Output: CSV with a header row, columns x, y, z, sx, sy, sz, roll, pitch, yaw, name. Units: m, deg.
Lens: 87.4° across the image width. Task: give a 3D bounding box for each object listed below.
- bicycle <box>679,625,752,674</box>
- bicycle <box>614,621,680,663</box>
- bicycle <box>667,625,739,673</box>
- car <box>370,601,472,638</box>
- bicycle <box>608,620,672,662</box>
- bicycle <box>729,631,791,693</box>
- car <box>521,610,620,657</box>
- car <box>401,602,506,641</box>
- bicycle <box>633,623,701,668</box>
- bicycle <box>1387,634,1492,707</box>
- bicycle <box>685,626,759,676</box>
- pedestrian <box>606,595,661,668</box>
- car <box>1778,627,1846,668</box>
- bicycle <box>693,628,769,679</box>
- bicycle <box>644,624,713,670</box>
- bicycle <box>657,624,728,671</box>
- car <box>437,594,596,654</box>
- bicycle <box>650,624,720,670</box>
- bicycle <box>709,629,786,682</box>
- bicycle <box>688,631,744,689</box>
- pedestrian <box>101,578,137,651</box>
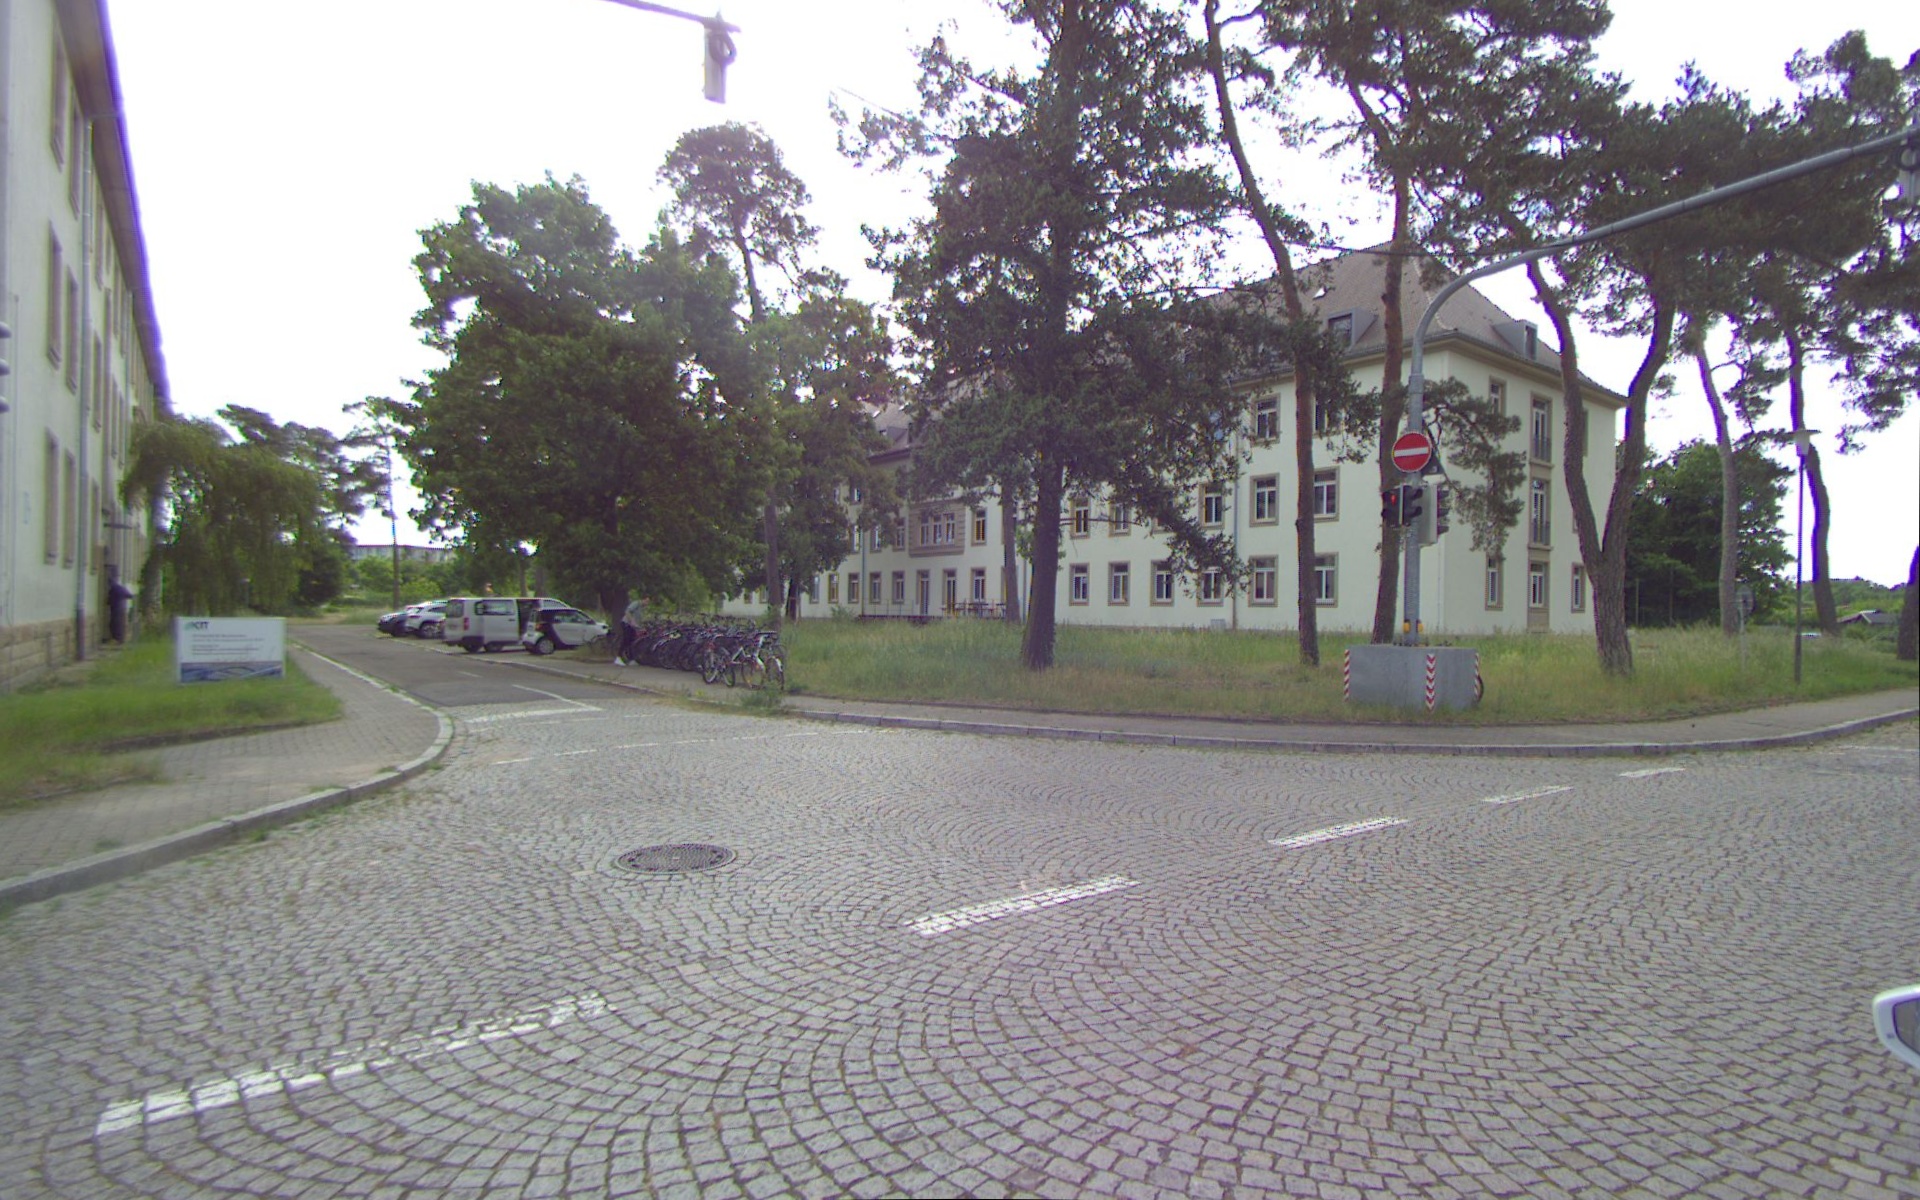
x,y,z,sx,sy,sz,roll,pitch,yaw,name
-5.642,1.144,23.241,1.571,1.093,0.511,2,-1,-38,bicycle
-8.321,1.116,26.724,1.571,1.093,0.511,2,-1,-38,bicycle
-6.056,1.138,23.713,1.571,1.093,0.511,2,-1,-38,bicycle
-26.301,0.961,49.065,4.062,1.716,1.784,2,0,-42,car
-8.629,1.102,27.117,1.571,1.093,0.511,2,-1,-38,bicycle
-3.726,1.135,18.669,0.512,1.079,1.453,1,-1,-39,bicycle
-13.028,1.113,33.616,2.763,1.447,1.505,2,0,-38,car
-23.737,1.004,47.134,4.062,1.716,1.784,2,0,-42,car
-7.433,1.149,25.487,1.571,1.093,0.511,2,-1,-38,bicycle
7.693,1.109,16.172,0.512,1.079,1.453,0,0,-39,bicycle
-5.430,1.154,22.950,1.571,1.093,0.511,2,-1,-38,bicycle
-8.294,0.778,25.562,1.137,1.813,1.062,0,0,-9,pedestrian
43.453,2.389,51.199,3.968,1.871,1.976,2,1,-41,car
-5.081,1.171,22.333,1.569,1.093,0.511,1,-1,-35,bicycle
-6.957,1.153,24.853,1.571,1.093,0.511,2,-1,-38,bicycle
-6.445,1.143,24.196,1.571,1.093,0.511,2,-1,-38,bicycle
-15.719,0.849,35.840,1.835,1.978,4.889,1,0,39,car
-6.720,1.134,24.551,1.571,1.093,0.511,2,-1,-38,bicycle
-4.608,1.191,21.848,1.573,1.093,0.510,2,-1,-41,bicycle
-4.834,1.163,19.869,0.512,1.093,1.453,1,-1,-39,bicycle
-22.694,0.395,27.117,0.676,1.937,0.791,1,-1,-37,pedestrian
